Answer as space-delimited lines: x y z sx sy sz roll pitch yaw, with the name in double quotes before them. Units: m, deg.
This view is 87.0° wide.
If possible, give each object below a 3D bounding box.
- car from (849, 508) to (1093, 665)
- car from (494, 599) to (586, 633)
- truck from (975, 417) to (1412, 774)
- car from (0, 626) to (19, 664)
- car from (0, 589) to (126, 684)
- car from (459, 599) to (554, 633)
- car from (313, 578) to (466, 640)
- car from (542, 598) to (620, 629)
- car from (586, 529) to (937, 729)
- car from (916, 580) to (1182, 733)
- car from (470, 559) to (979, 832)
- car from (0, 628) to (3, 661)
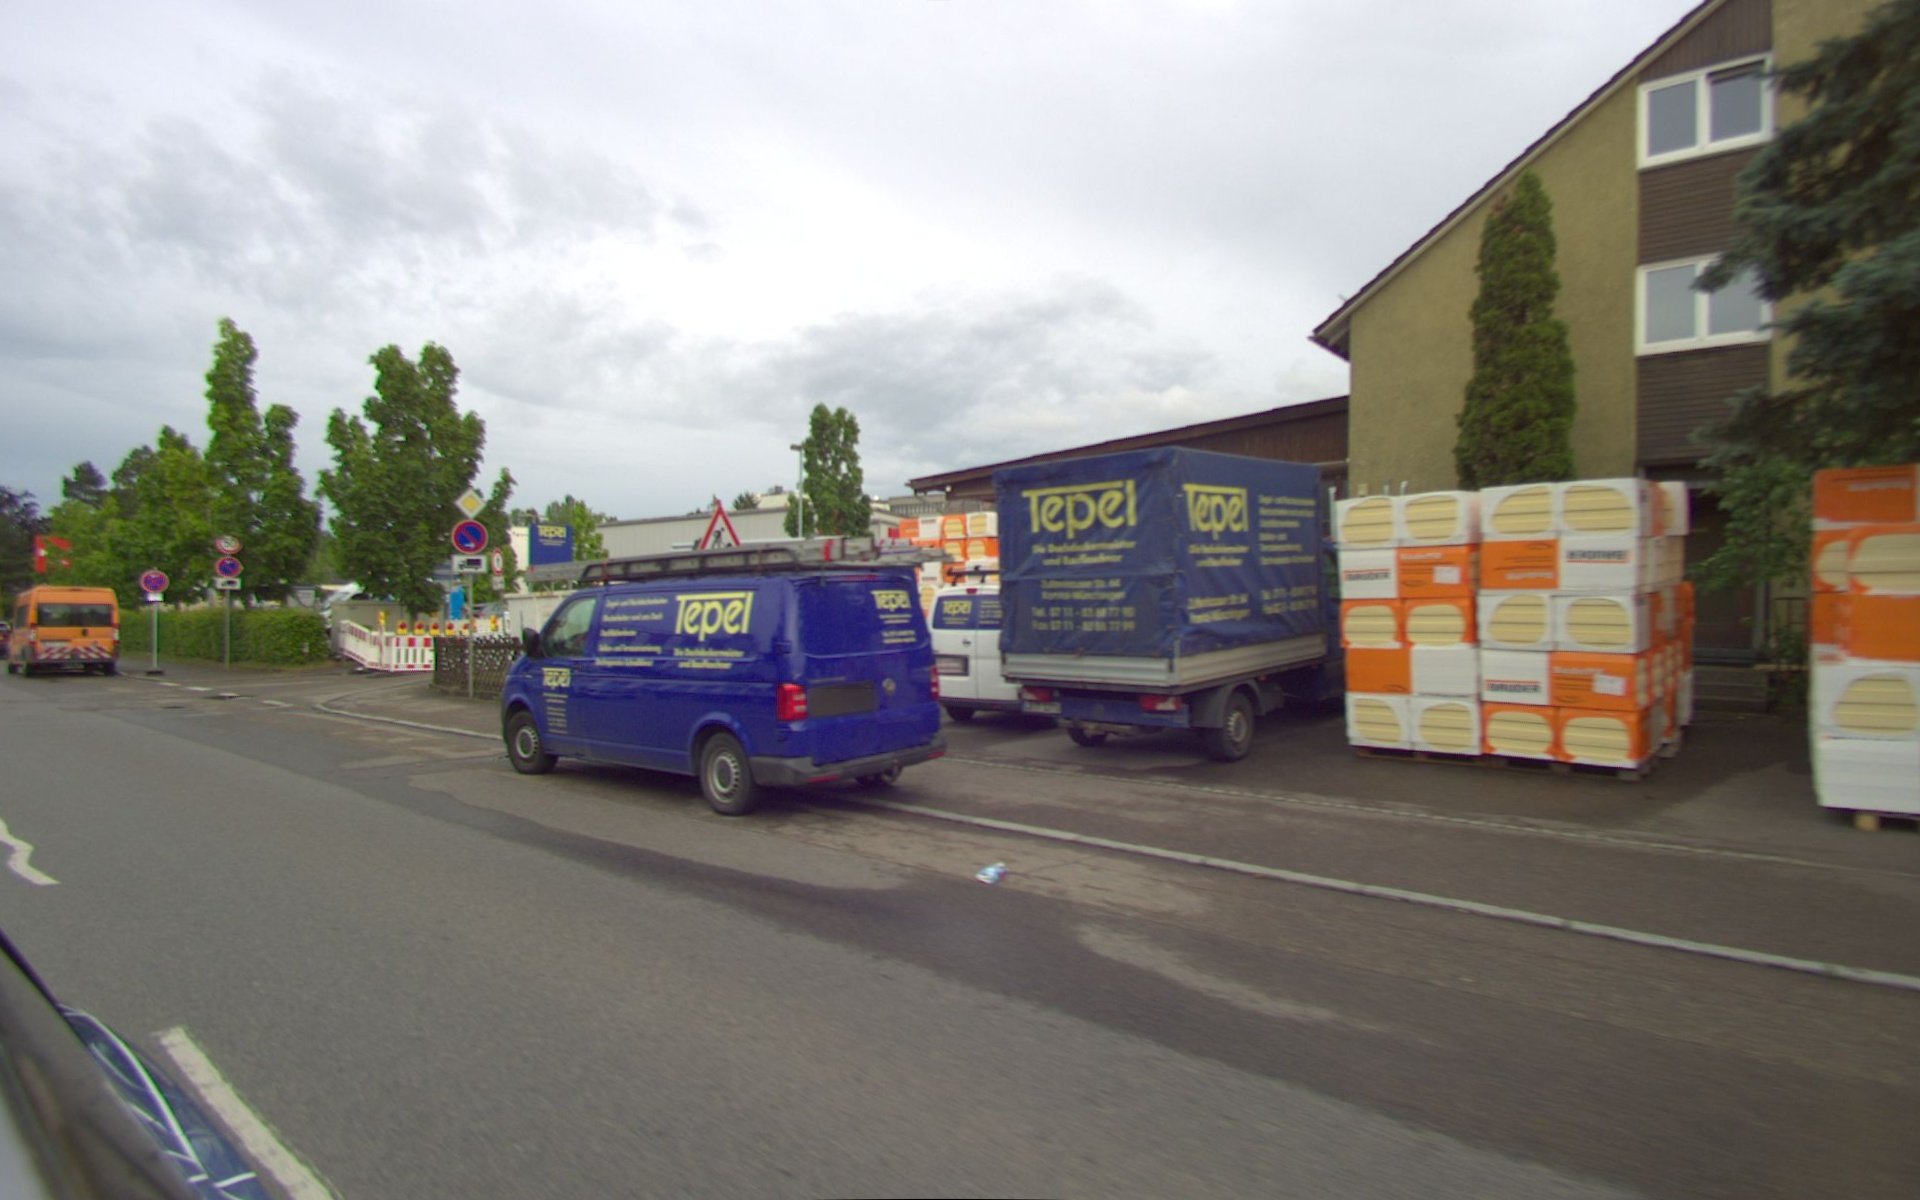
"car" 0.132 -0.275 22.106 5.241 3.036 2.054 -1 1 42
"car" -20.686 0.761 49.942 1.691 1.531 3.855 -1 1 36
"truck" 3.022 -0.098 11.794 2.449 3.096 5.850 -1 1 41
"car" -41.761 1.902 43.248 4.339 1.585 1.787 -1 -1 41
"car" -26.824 1.030 30.156 6.019 2.557 2.102 -1 -1 41
"car" -22.944 0.772 51.315 1.882 1.563 4.018 -1 1 36
"car" -20.133 0.273 35.856 2.062 2.029 4.261 -1 1 41
"car" -21.893 0.752 58.570 1.767 1.618 3.955 -1 1 33
"car" -3.339 0.370 15.888 6.199 2.586 2.054 0 1 42
"car" 1.319 0.646 13.849 1.778 1.763 3.669 -1 1 42
"car" -2.518 0.685 9.760 5.362 1.962 1.973 -1 1 41
"car" -45.379 2.072 46.387 4.134 1.510 1.754 -2 -1 41
